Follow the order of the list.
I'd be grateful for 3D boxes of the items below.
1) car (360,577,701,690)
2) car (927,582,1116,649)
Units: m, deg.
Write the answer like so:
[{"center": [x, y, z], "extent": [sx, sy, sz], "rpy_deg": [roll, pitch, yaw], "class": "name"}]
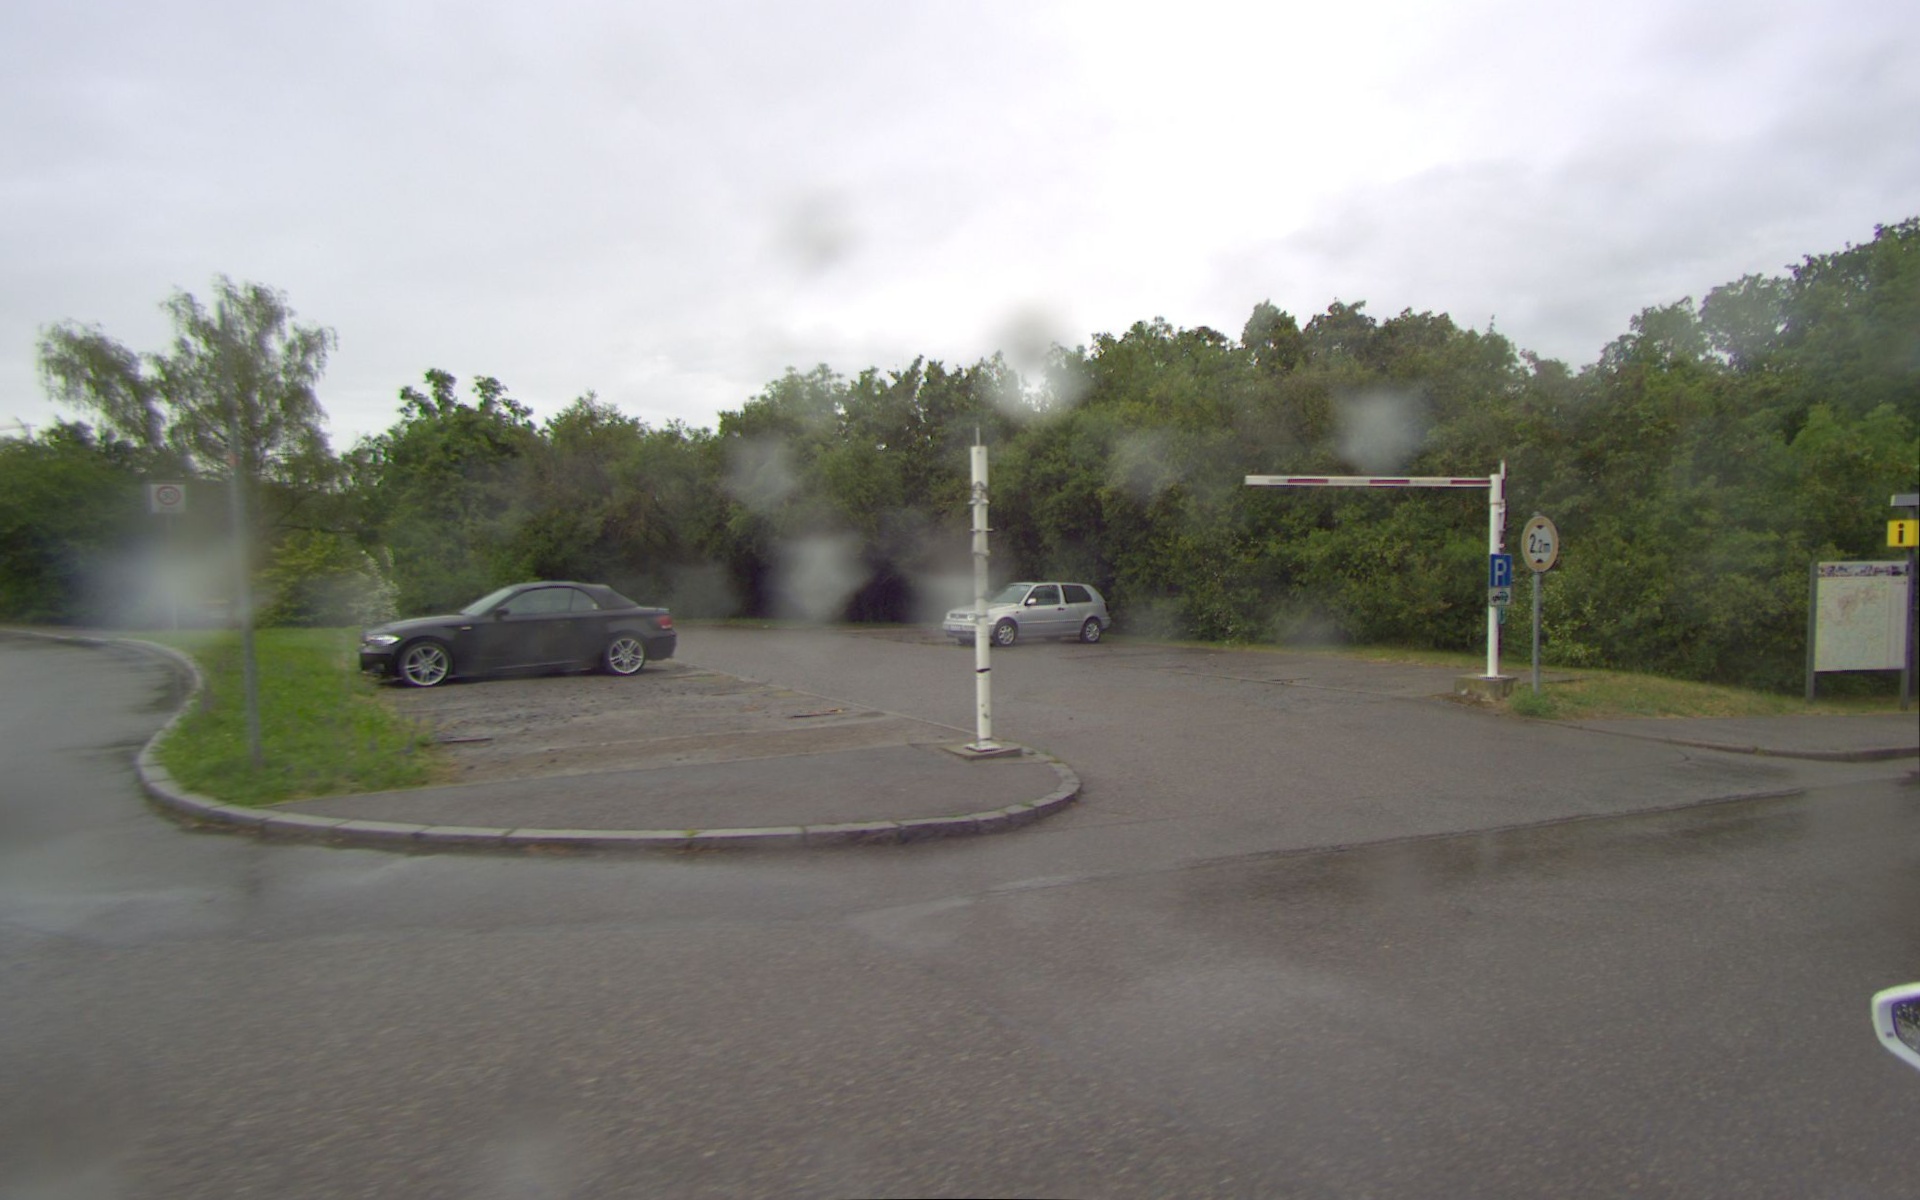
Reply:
[{"center": [-6.292, 0.394, 14.883], "extent": [4.382, 1.434, 1.981], "rpy_deg": [-1, 2, -34], "class": "car"}, {"center": [1.446, 0.298, 22.909], "extent": [4.126, 1.418, 1.682], "rpy_deg": [0, 2, -33], "class": "car"}]
